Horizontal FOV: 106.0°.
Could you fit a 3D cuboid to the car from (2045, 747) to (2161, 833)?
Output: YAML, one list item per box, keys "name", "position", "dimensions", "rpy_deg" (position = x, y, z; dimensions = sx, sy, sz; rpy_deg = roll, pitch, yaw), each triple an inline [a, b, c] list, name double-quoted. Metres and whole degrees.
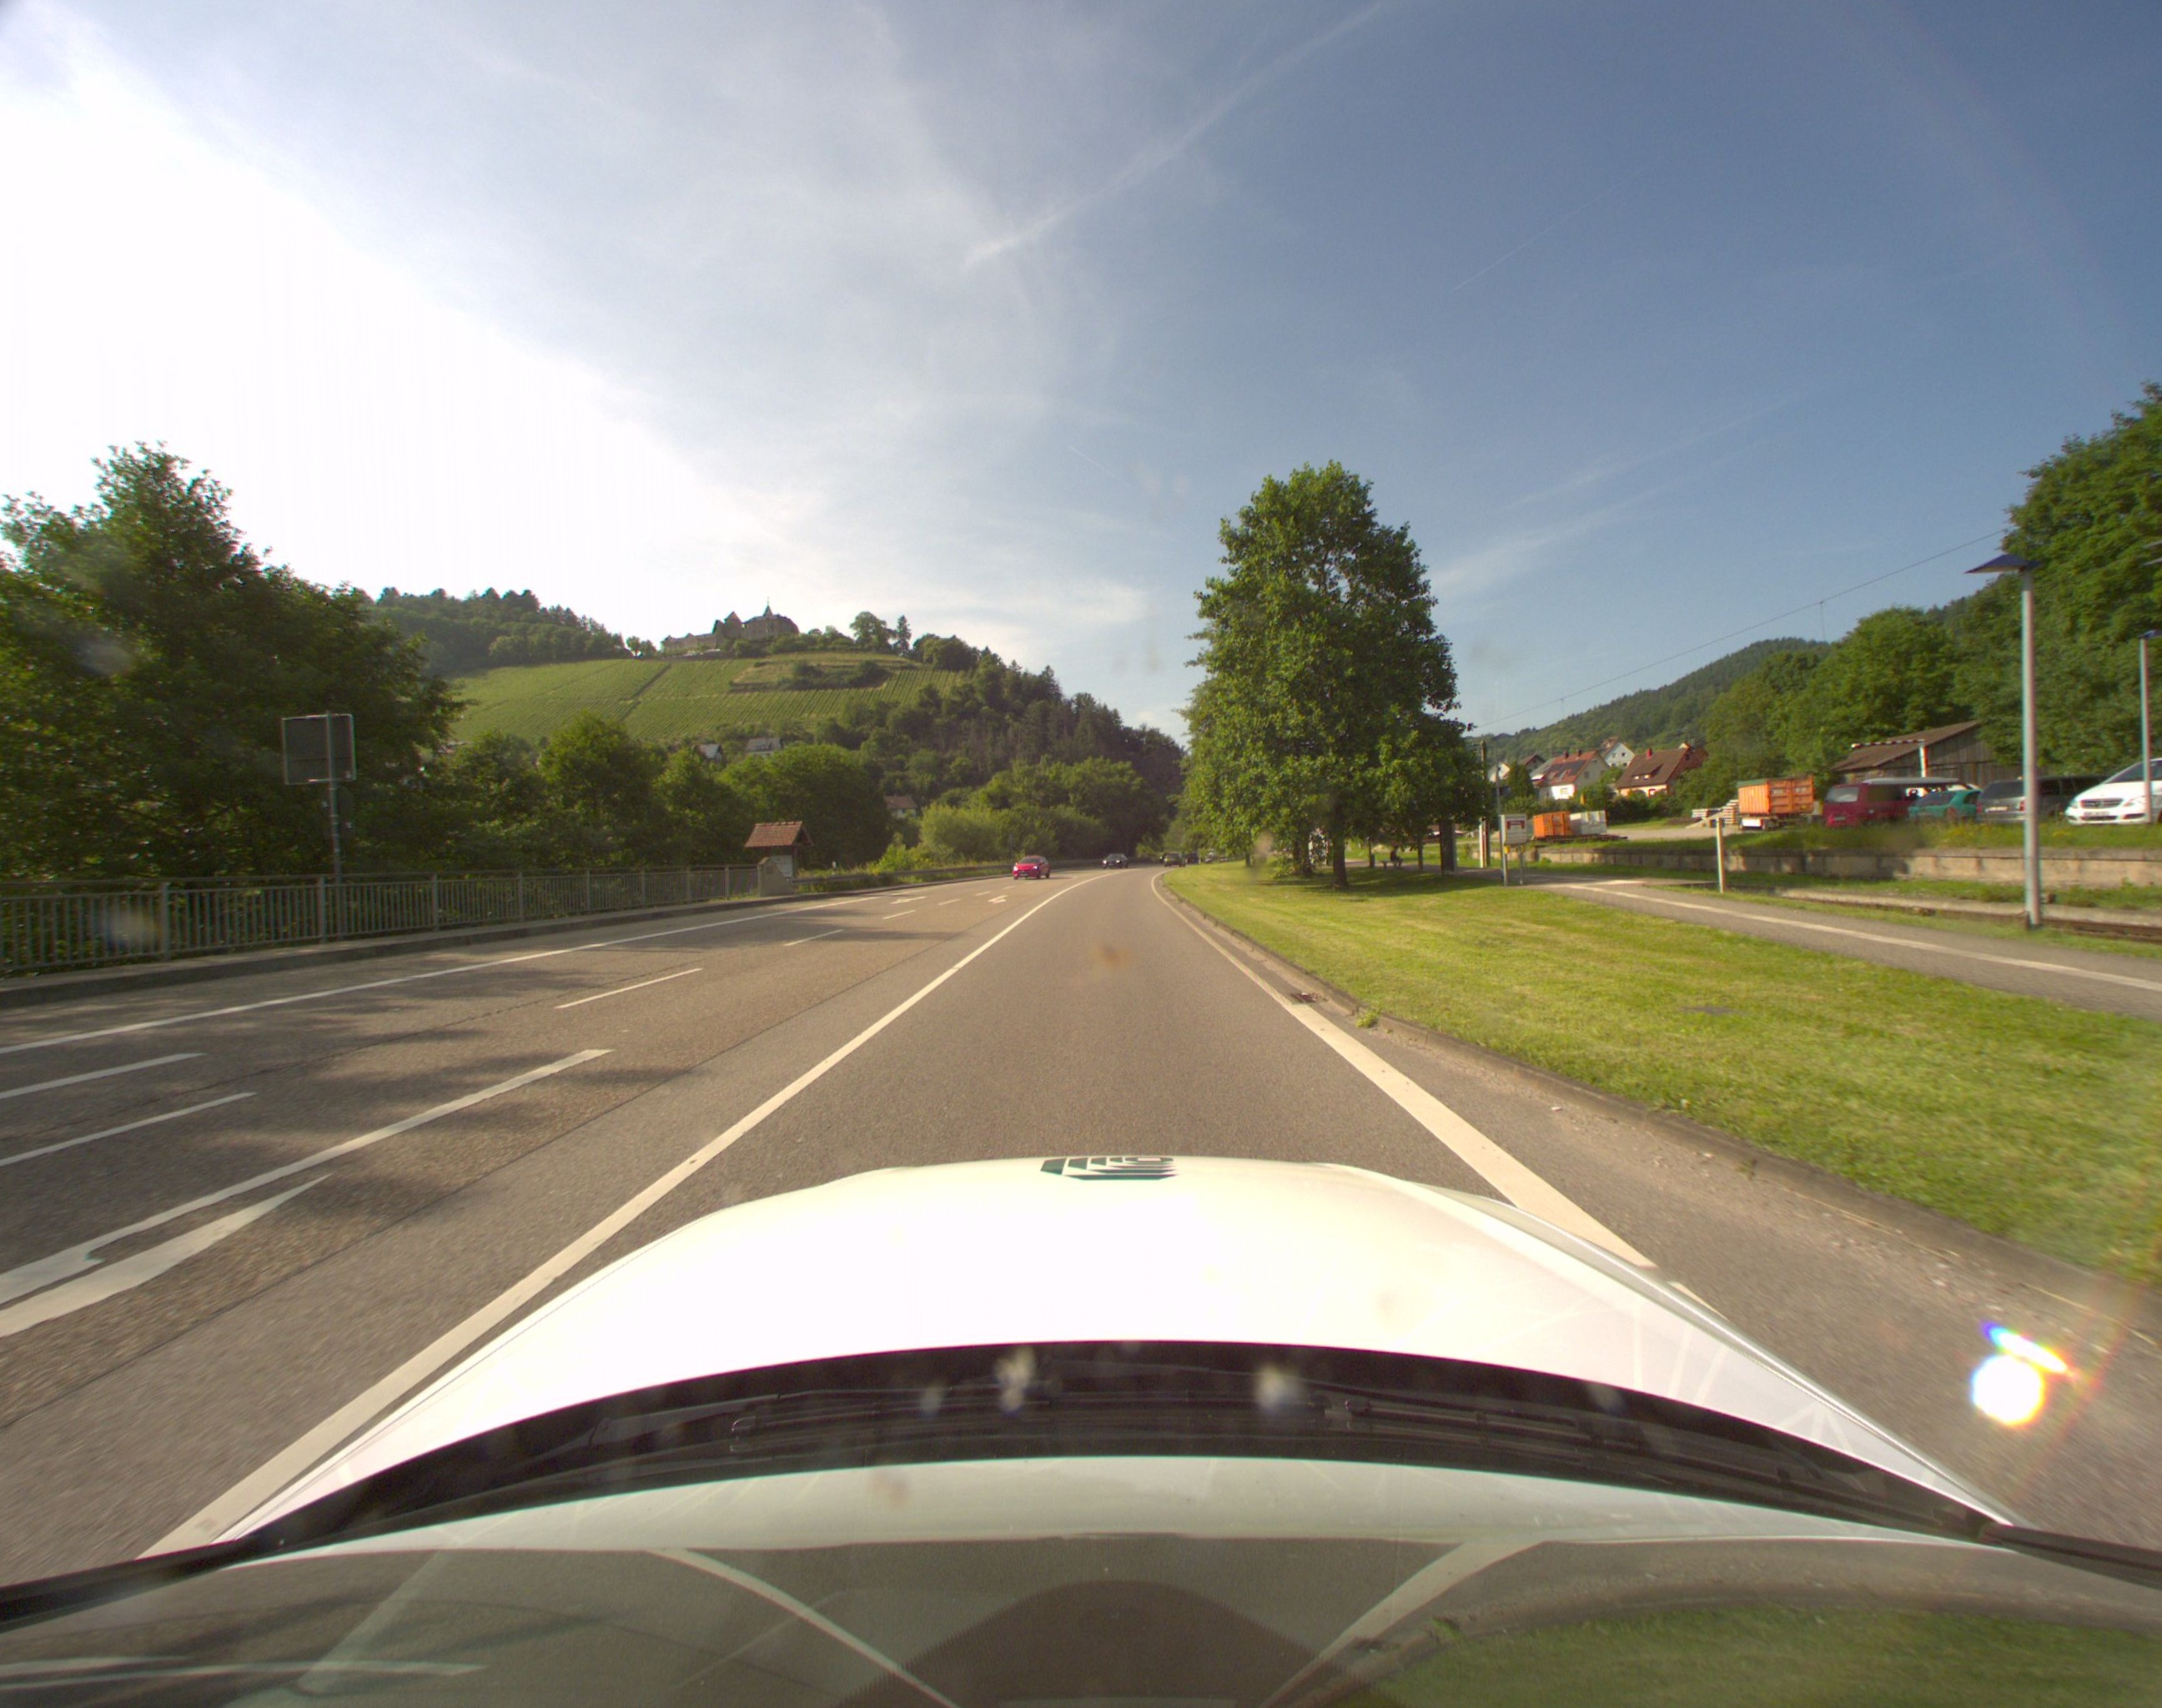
- name: "car"
  position: [27.340, -1.582, 19.815]
  dimensions: [4.926, 1.943, 2.145]
  rpy_deg: [-2, 0, 5]

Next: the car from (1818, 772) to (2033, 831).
- name: "car"
  position: [28.228, -1.729, 27.379]
  dimensions: [4.926, 1.690, 1.939]
  rpy_deg: [-2, 0, 5]

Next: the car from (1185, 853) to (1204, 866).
- name: "car"
  position: [14.270, 0.725, 102.368]
  dimensions: [1.826, 1.459, 3.728]
  rpy_deg: [-4, -1, 15]

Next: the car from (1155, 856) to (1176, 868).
- name: "car"
  position: [11.068, 1.039, 106.483]
  dimensions: [1.679, 1.402, 4.223]
  rpy_deg: [-1, 0, 21]

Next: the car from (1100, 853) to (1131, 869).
- name: "car"
  position: [3.456, 0.667, 80.641]
  dimensions: [1.836, 1.469, 4.564]
  rpy_deg: [0, 0, 18]

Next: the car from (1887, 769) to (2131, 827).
- name: "car"
  position: [28.019, -1.651, 24.748]
  dimensions: [4.926, 1.468, 1.898]
  rpy_deg: [-2, 0, 5]

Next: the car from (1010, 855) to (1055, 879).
- name: "car"
  position: [-3.101, 0.816, 52.928]
  dimensions: [1.663, 1.460, 4.217]
  rpy_deg: [-1, 0, 14]

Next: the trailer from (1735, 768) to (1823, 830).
- name: "trailer"
  position: [49.618, -3.785, 58.157]
  dimensions: [2.583, 3.893, 7.777]
  rpy_deg: [-4, -1, 25]

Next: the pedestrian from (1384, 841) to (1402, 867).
- name: "pedestrian"
  position: [14.865, 0.006, 38.829]
  dimensions: [0.630, 1.161, 0.729]
  rpy_deg: [-3, -1, 14]

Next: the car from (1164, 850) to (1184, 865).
- name: "car"
  position: [9.592, 0.370, 83.772]
  dimensions: [1.717, 1.457, 3.421]
  rpy_deg: [-4, -1, 12]

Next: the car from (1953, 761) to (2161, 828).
- name: "car"
  position: [27.674, -1.615, 22.352]
  dimensions: [4.926, 1.587, 2.145]
  rpy_deg: [-2, 0, 5]

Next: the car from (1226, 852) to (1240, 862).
- name: "car"
  position: [25.684, 0.503, 137.465]
  dimensions: [1.792, 1.453, 3.664]
  rpy_deg: [-4, -1, 18]
